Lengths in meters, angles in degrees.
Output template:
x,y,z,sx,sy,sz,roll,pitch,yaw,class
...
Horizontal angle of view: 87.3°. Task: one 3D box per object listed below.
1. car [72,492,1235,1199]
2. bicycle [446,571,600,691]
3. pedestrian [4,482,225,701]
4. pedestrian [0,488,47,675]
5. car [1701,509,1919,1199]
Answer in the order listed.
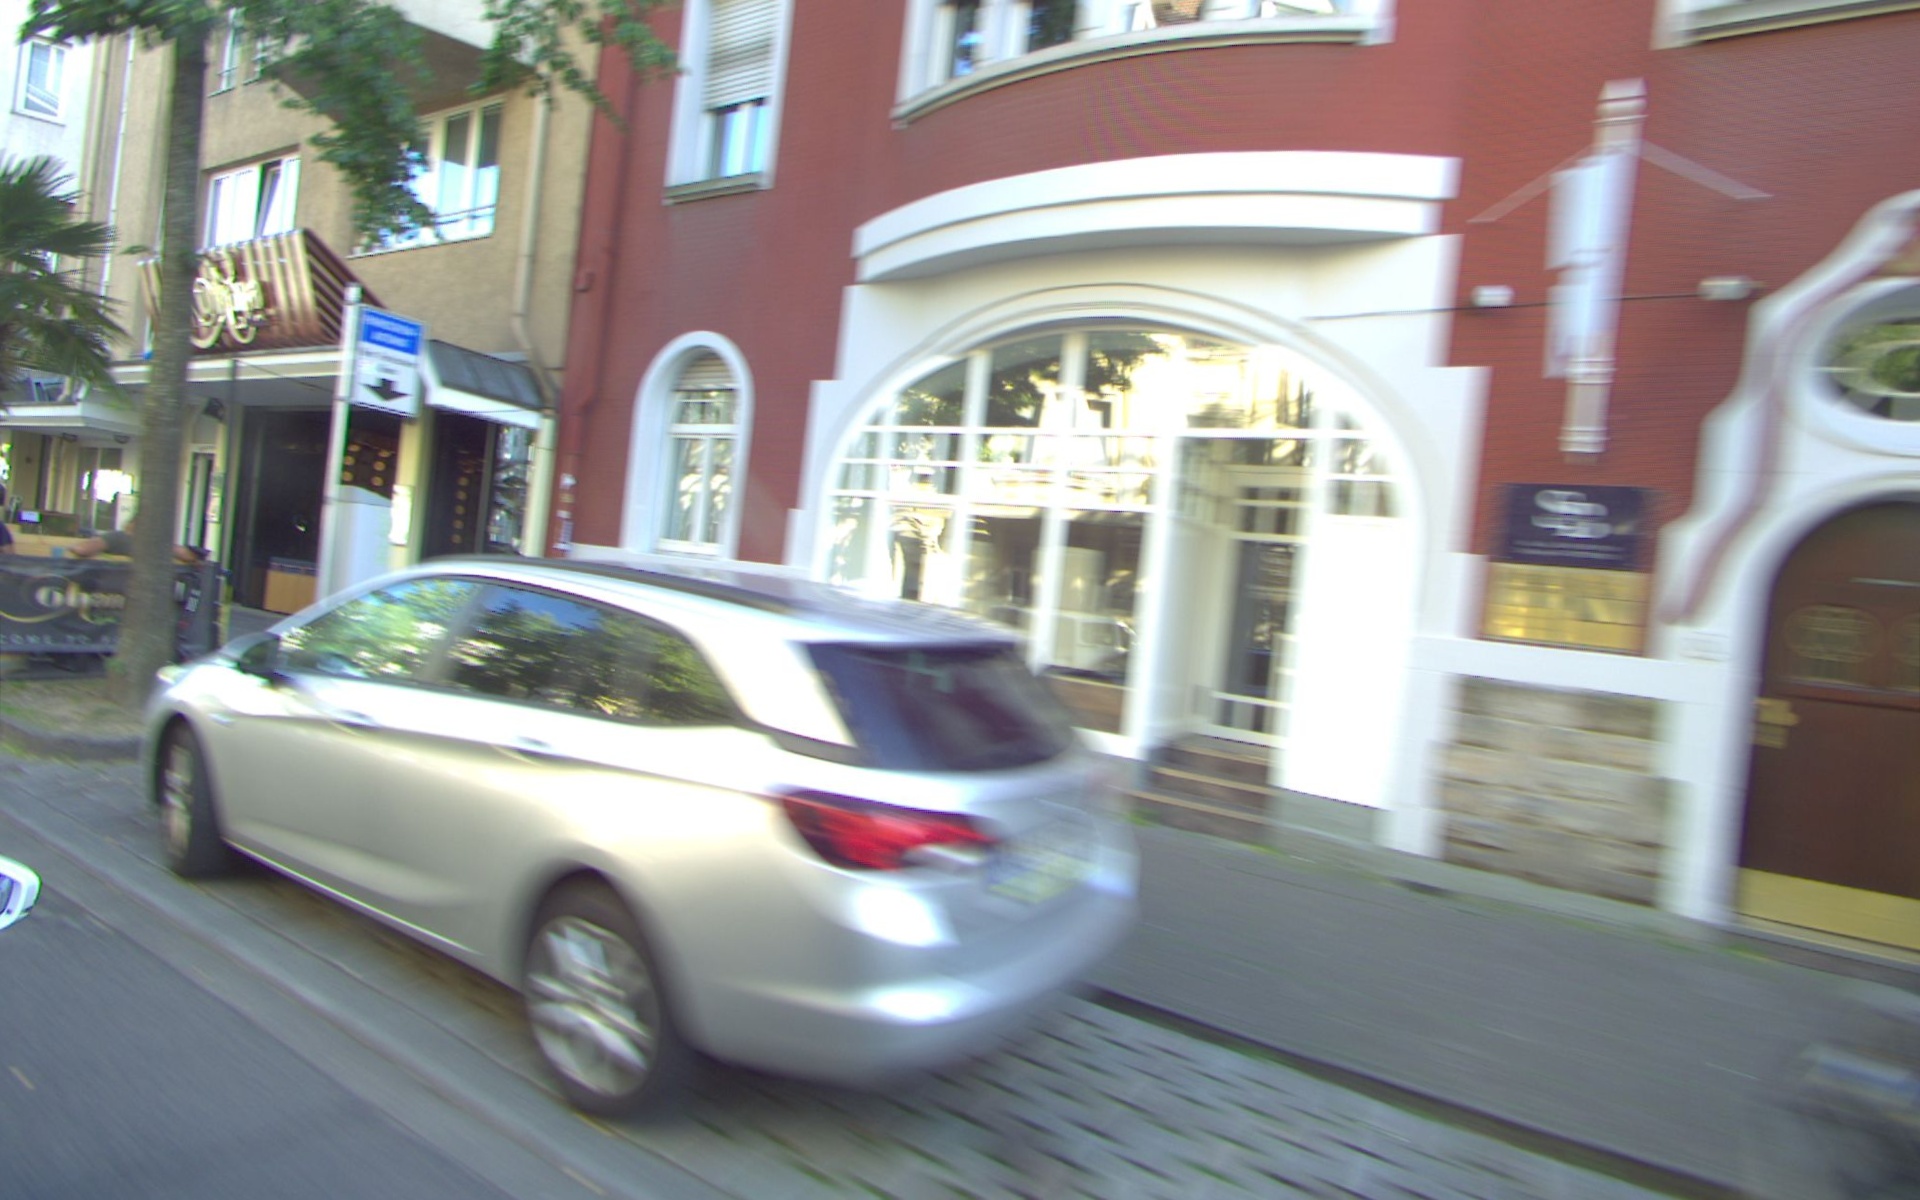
x,y,z,sx,sy,sz,roll,pitch,yaw,class
-1.563,0.568,4.136,4.762,1.618,1.822,7,2,32,car
-4.431,0.295,10.161,1.672,1.014,0.474,6,1,32,bicycle
-6.619,-0.052,7.894,0.878,1.556,1.056,7,1,36,pedestrian
-8.365,-0.191,8.509,0.764,1.556,0.693,7,1,33,pedestrian
3.627,1.033,0.656,4.853,1.801,1.820,7,3,36,car
